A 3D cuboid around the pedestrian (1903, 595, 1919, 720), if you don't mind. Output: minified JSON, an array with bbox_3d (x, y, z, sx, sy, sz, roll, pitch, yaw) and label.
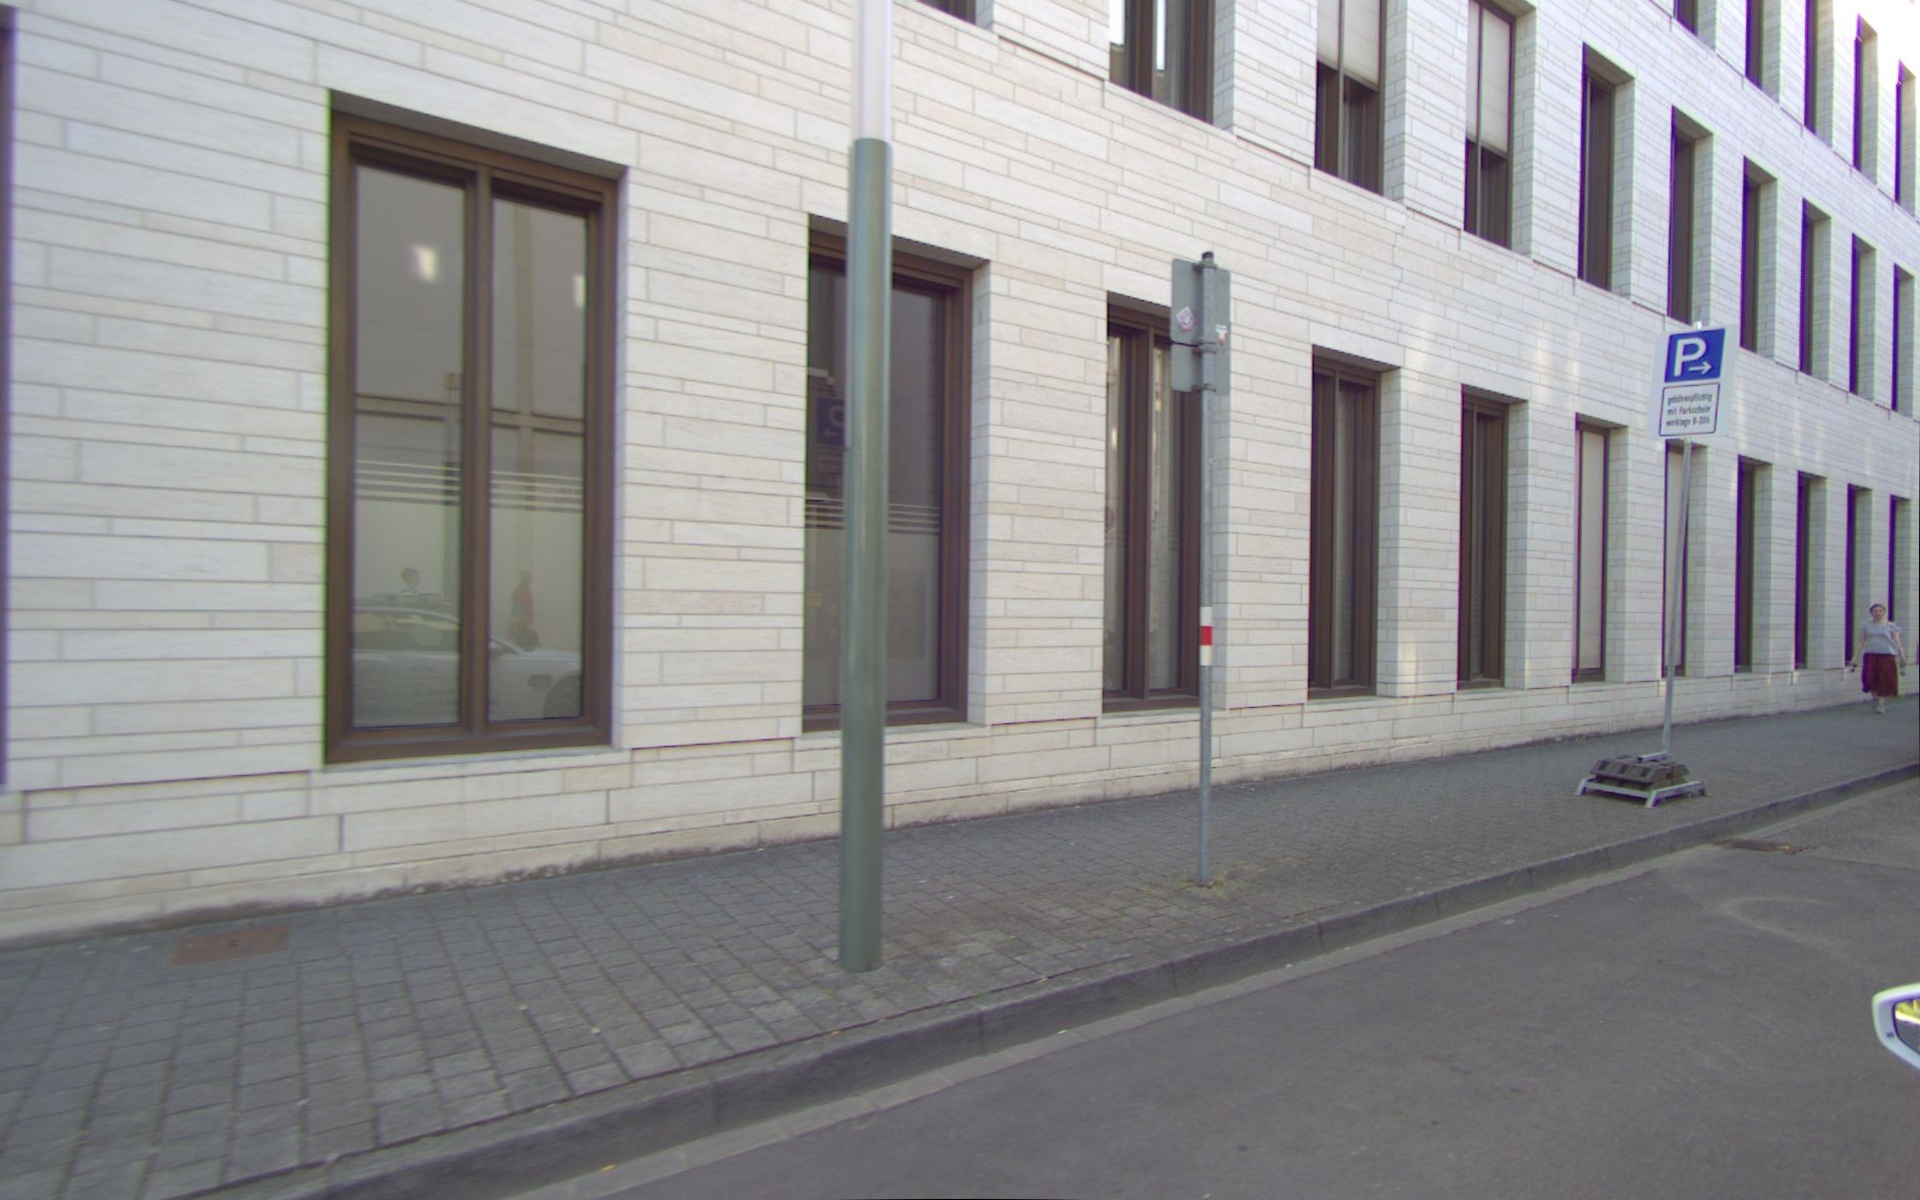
[{"bbox_3d":[14.333,0.838,14.645,0.719,1.810,0.700,1,-1,-34],"label":"pedestrian"}]

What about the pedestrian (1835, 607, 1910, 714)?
[{"bbox_3d":[14.453,0.942,15.906,0.852,1.635,0.700,1,-1,-34],"label":"pedestrian"}]

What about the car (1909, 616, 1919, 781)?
[{"bbox_3d":[11.685,0.977,10.426,4.224,1.627,1.799,1,-2,-34],"label":"car"}]
